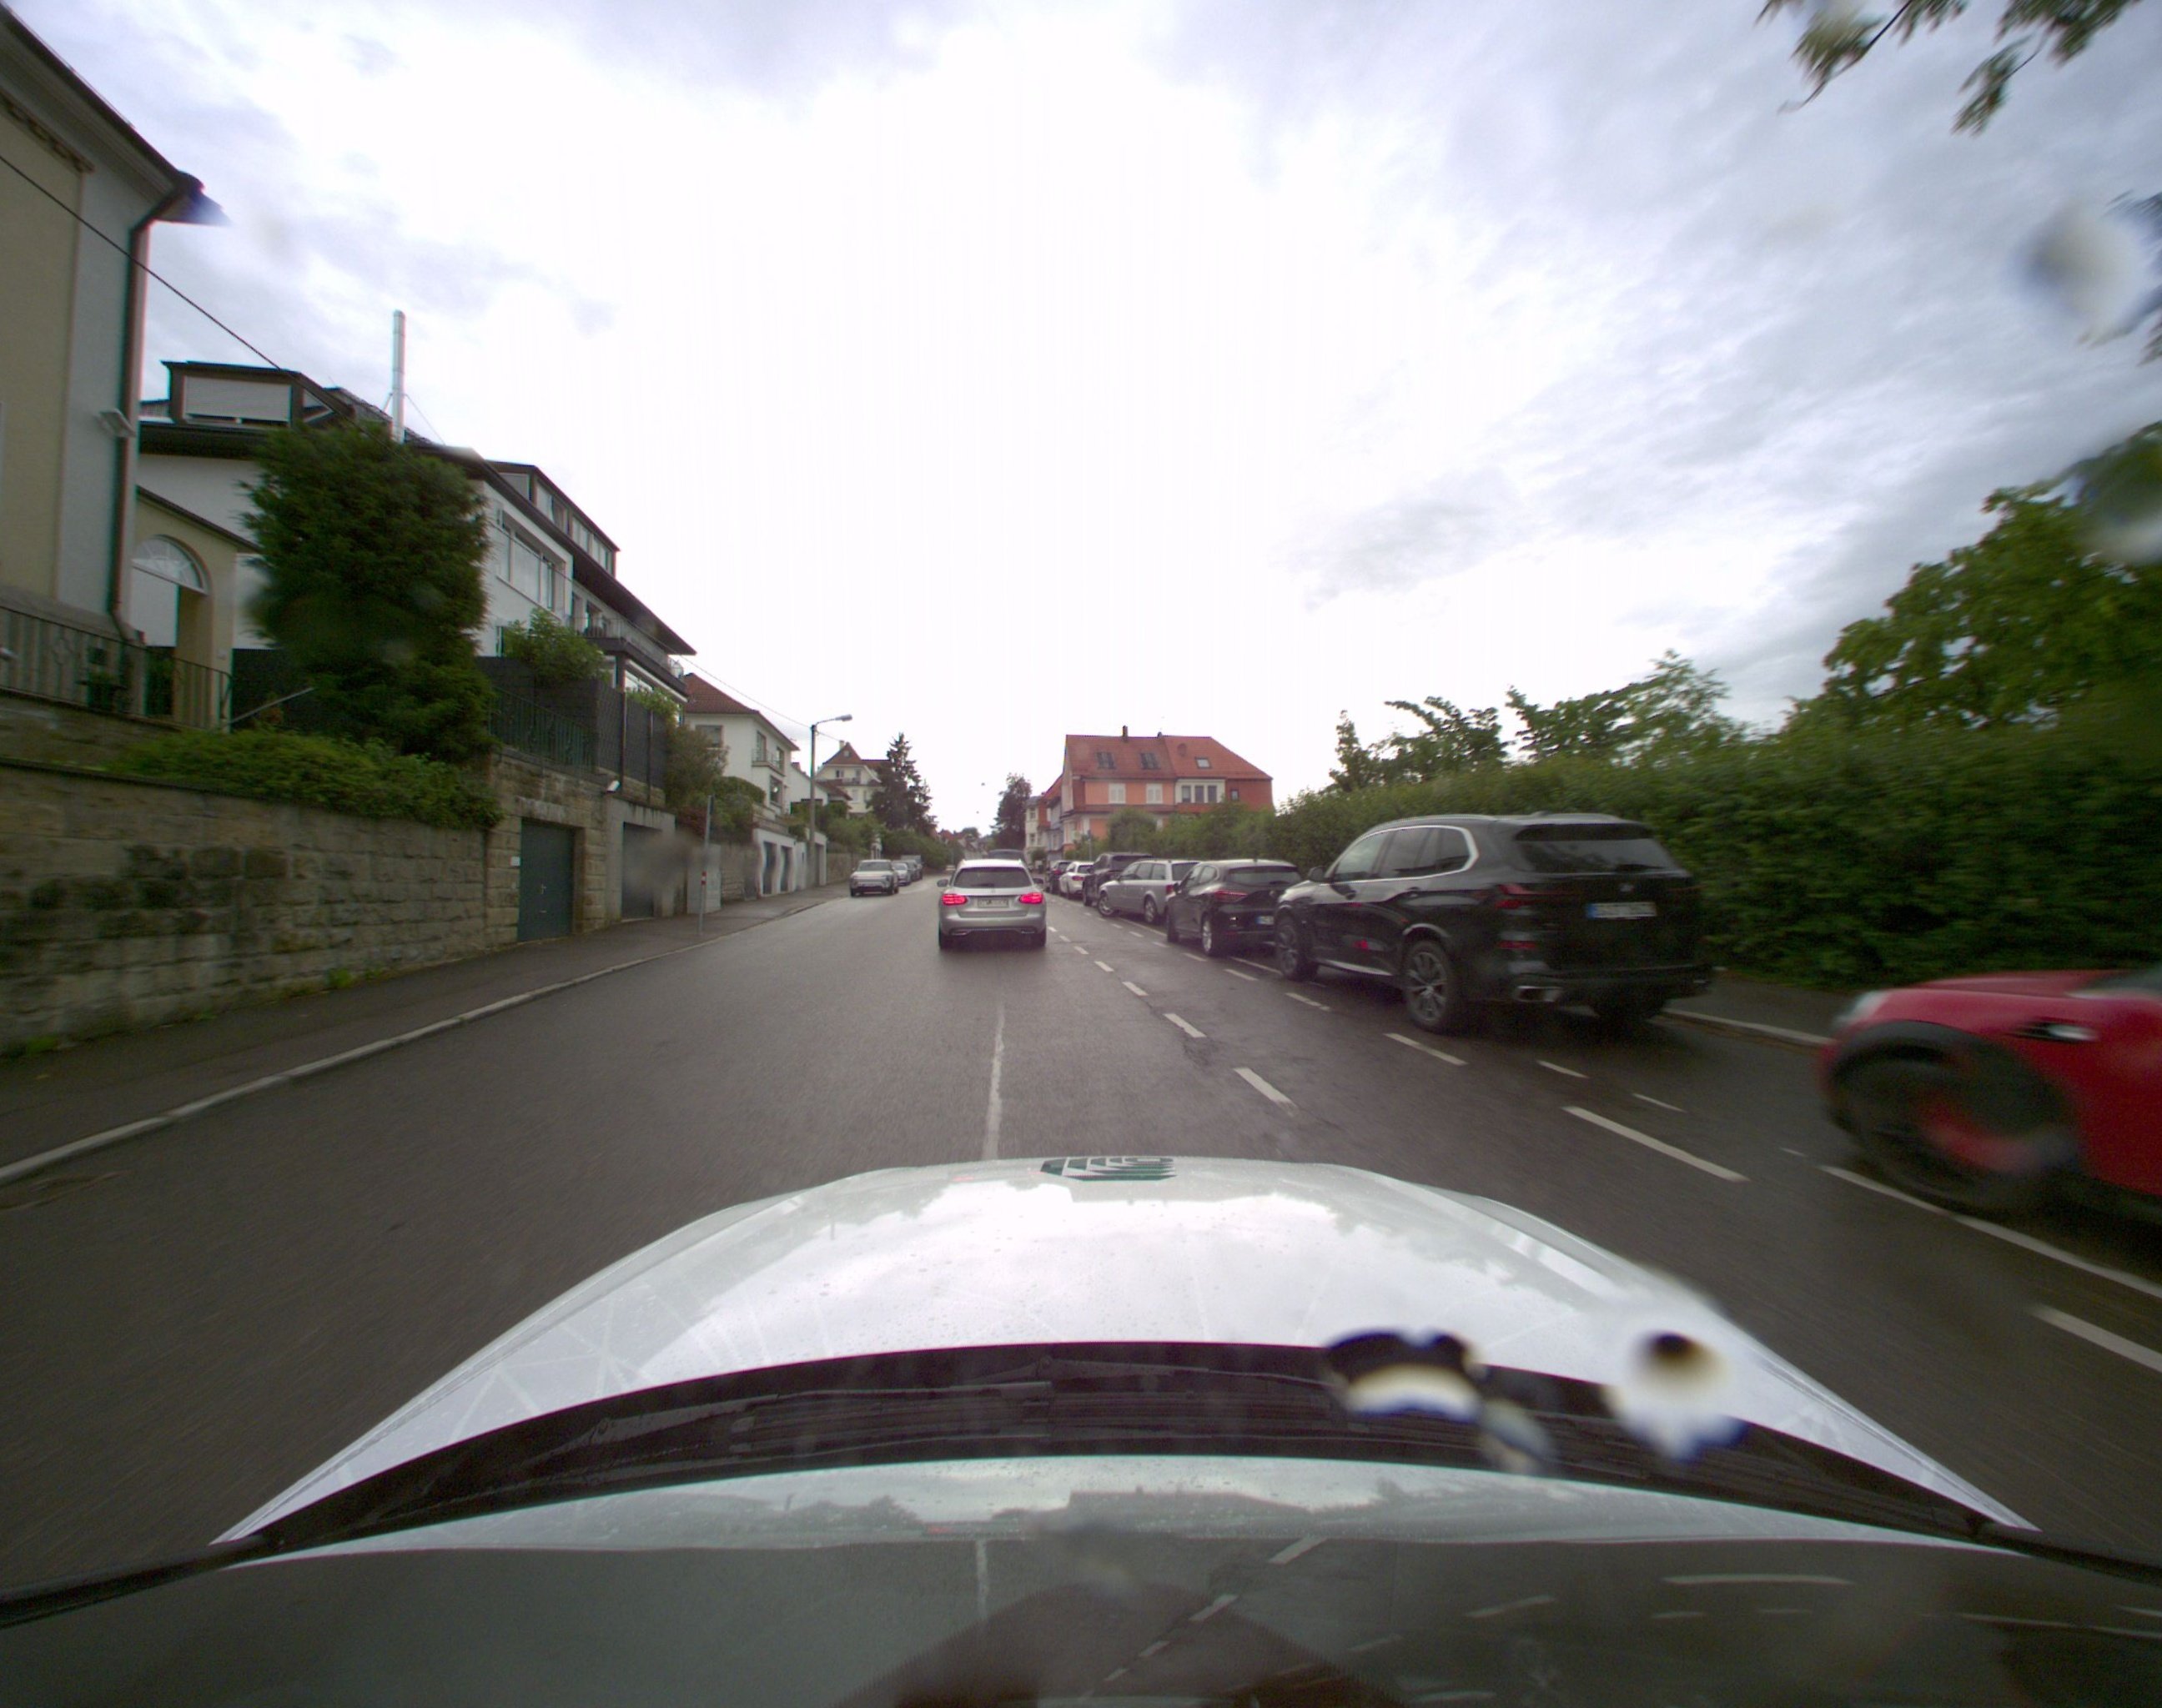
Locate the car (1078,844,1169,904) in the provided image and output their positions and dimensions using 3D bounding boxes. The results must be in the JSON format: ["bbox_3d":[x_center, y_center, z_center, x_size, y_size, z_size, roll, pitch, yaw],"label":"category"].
[{"bbox_3d":[1.179,0.581,25.048,1.886,1.663,4.533,1,0,-9],"label":"car"}]

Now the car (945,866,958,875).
[{"bbox_3d":[-21.942,2.842,138.001,2.116,1.471,4.004,0,0,-9],"label":"car"}]

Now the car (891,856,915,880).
[{"bbox_3d":[-11.917,0.918,54.577,1.498,1.524,3.146,0,0,-12],"label":"car"}]

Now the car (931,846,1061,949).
[{"bbox_3d":[-1.568,0.680,14.667,1.981,1.554,4.286,-1,0,-7],"label":"car"}]

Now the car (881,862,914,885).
[{"bbox_3d":[-11.233,1.173,50.017,1.608,1.337,3.831,1,0,-8],"label":"car"}]

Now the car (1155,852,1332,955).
[{"bbox_3d":[2.490,0.721,13.501,1.687,1.422,3.972,-1,-1,-8],"label":"car"}]

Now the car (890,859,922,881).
[{"bbox_3d":[-12.644,1.121,59.177,1.897,1.515,4.330,1,0,-8],"label":"car"}]

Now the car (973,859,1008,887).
[{"bbox_3d":[-5.056,1.016,45.341,1.852,1.458,4.085,-1,0,-7],"label":"car"}]

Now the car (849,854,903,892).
[{"bbox_3d":[-9.340,0.842,37.346,1.897,1.567,4.226,-2,0,-8],"label":"car"}]

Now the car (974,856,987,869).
[{"bbox_3d":[-20.163,1.758,163.049,2.465,2.400,3.989,-3,0,-8],"label":"car"}]

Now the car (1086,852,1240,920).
[{"bbox_3d":[1.824,0.686,19.756,1.806,1.440,4.608,0,0,-22],"label":"car"}]

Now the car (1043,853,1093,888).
[{"bbox_3d":[-0.651,0.753,37.582,1.753,1.530,4.193,1,-1,-8],"label":"car"}]

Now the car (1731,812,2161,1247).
[{"bbox_3d":[4.395,0.560,2.395,1.671,1.414,3.730,-1,0,-9],"label":"car"}]

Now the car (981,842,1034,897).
[{"bbox_3d":[-2.825,0.543,31.373,1.821,1.882,4.088,-4,1,-5],"label":"car"}]

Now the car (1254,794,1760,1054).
[{"bbox_3d":[3.566,0.465,8.163,2.026,1.782,4.884,-1,0,-8],"label":"car"}]

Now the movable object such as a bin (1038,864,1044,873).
[{"bbox_3d":[-3.976,1.434,81.439,0.548,0.936,0.632,-3,0,-8],"label":"movable object such as a bin"}]

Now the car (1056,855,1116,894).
[{"bbox_3d":[0.116,0.760,32.167,1.712,1.405,4.594,1,0,-8],"label":"car"}]

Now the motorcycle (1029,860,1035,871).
[{"bbox_3d":[-5.446,1.295,90.972,0.581,1.261,2.327,-2,0,-5],"label":"motorcycle"}]
